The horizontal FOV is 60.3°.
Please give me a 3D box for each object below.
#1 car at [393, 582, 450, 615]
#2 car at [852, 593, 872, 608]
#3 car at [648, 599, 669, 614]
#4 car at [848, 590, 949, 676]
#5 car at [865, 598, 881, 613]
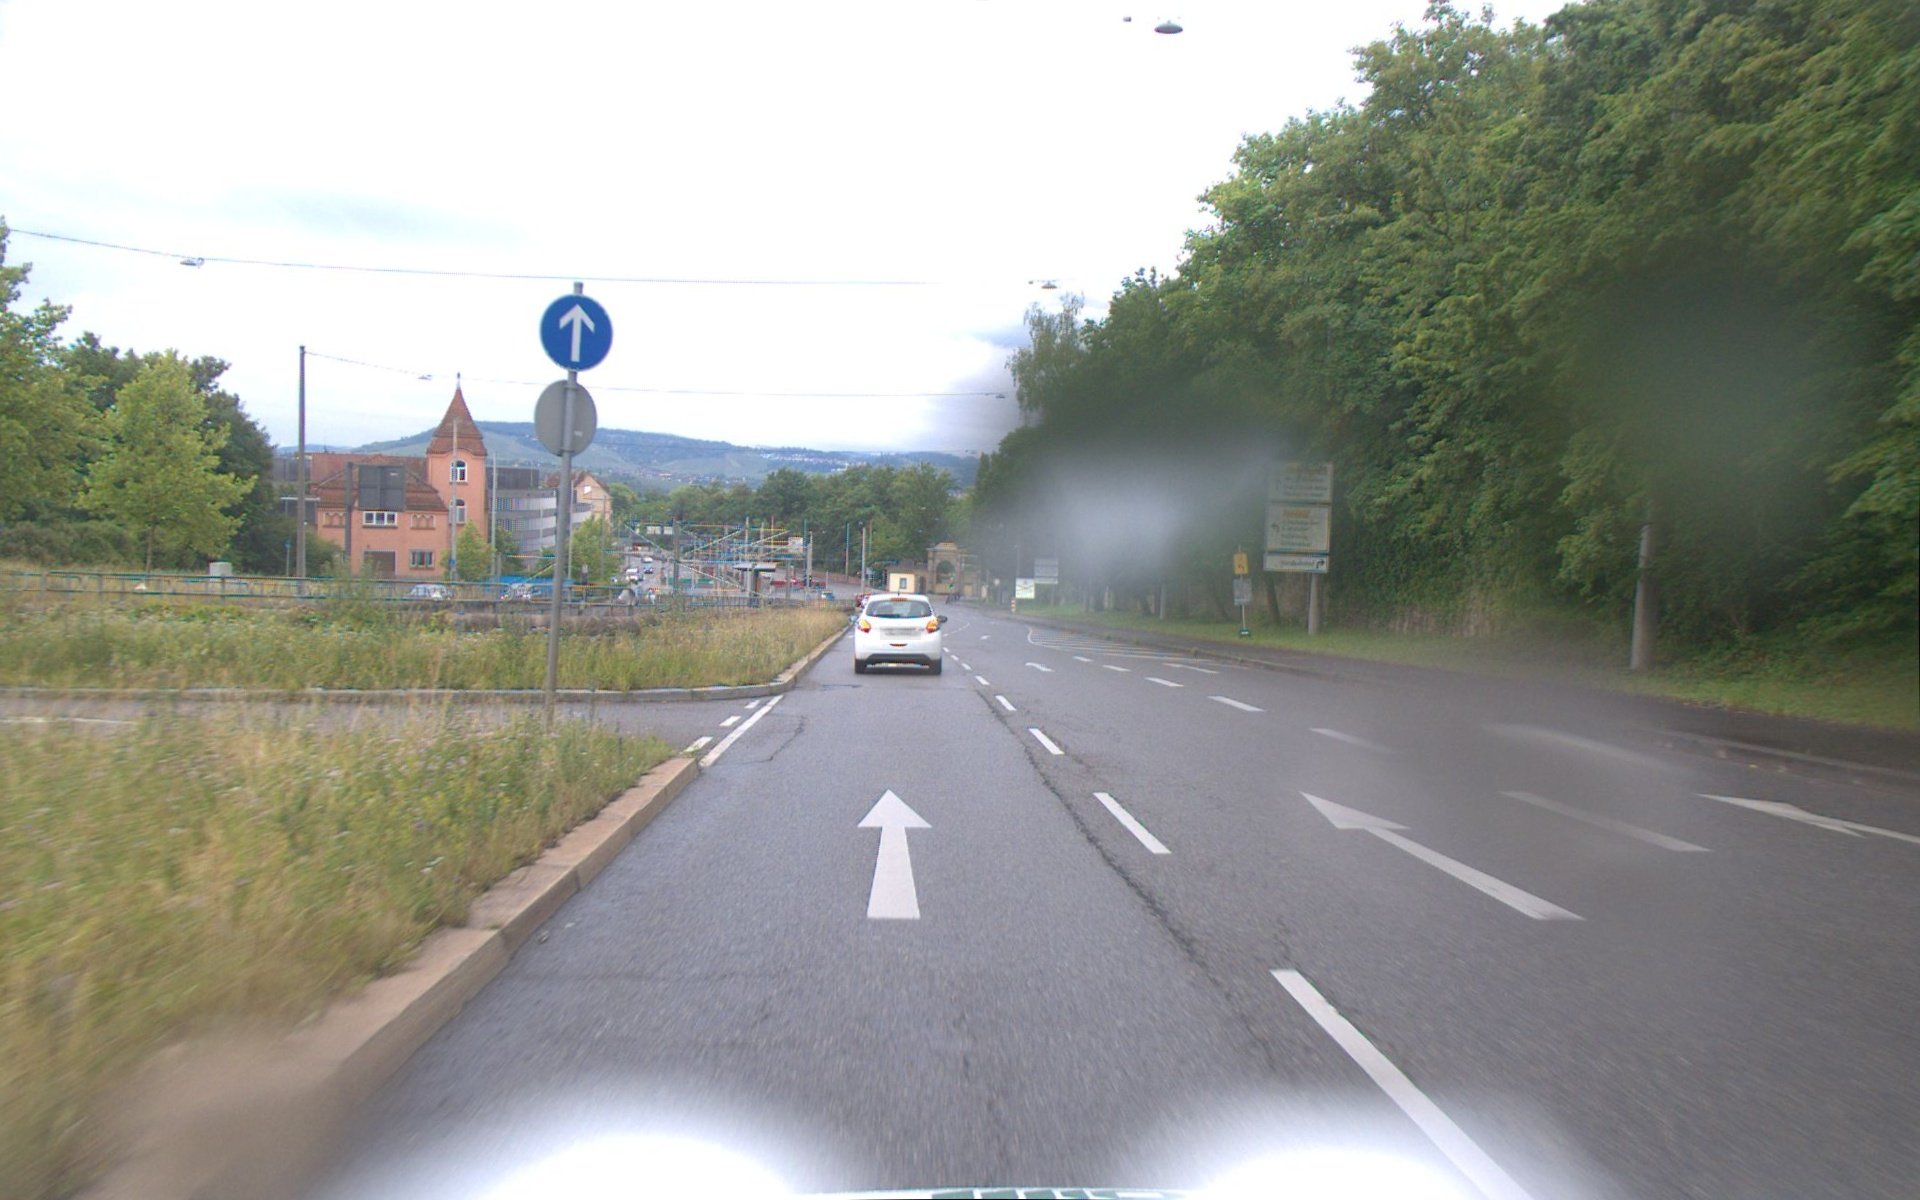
[{"bbox_3d":[-28.796,-0.102,88.560,1.852,1.669,3.971,1,0,-2],"label":"car"},{"bbox_3d":[-12.226,0.080,205.878,1.959,1.735,3.988,1,0,-12],"label":"car"},{"bbox_3d":[-30.145,0.651,165.325,1.524,1.314,3.558,2,1,-1],"label":"car"},{"bbox_3d":[-1.181,0.589,32.142,1.831,1.537,3.898,0,1,-2],"label":"car"},{"bbox_3d":[-10.406,0.656,198.339,1.785,1.634,3.999,-1,0,-1],"label":"car"}]
